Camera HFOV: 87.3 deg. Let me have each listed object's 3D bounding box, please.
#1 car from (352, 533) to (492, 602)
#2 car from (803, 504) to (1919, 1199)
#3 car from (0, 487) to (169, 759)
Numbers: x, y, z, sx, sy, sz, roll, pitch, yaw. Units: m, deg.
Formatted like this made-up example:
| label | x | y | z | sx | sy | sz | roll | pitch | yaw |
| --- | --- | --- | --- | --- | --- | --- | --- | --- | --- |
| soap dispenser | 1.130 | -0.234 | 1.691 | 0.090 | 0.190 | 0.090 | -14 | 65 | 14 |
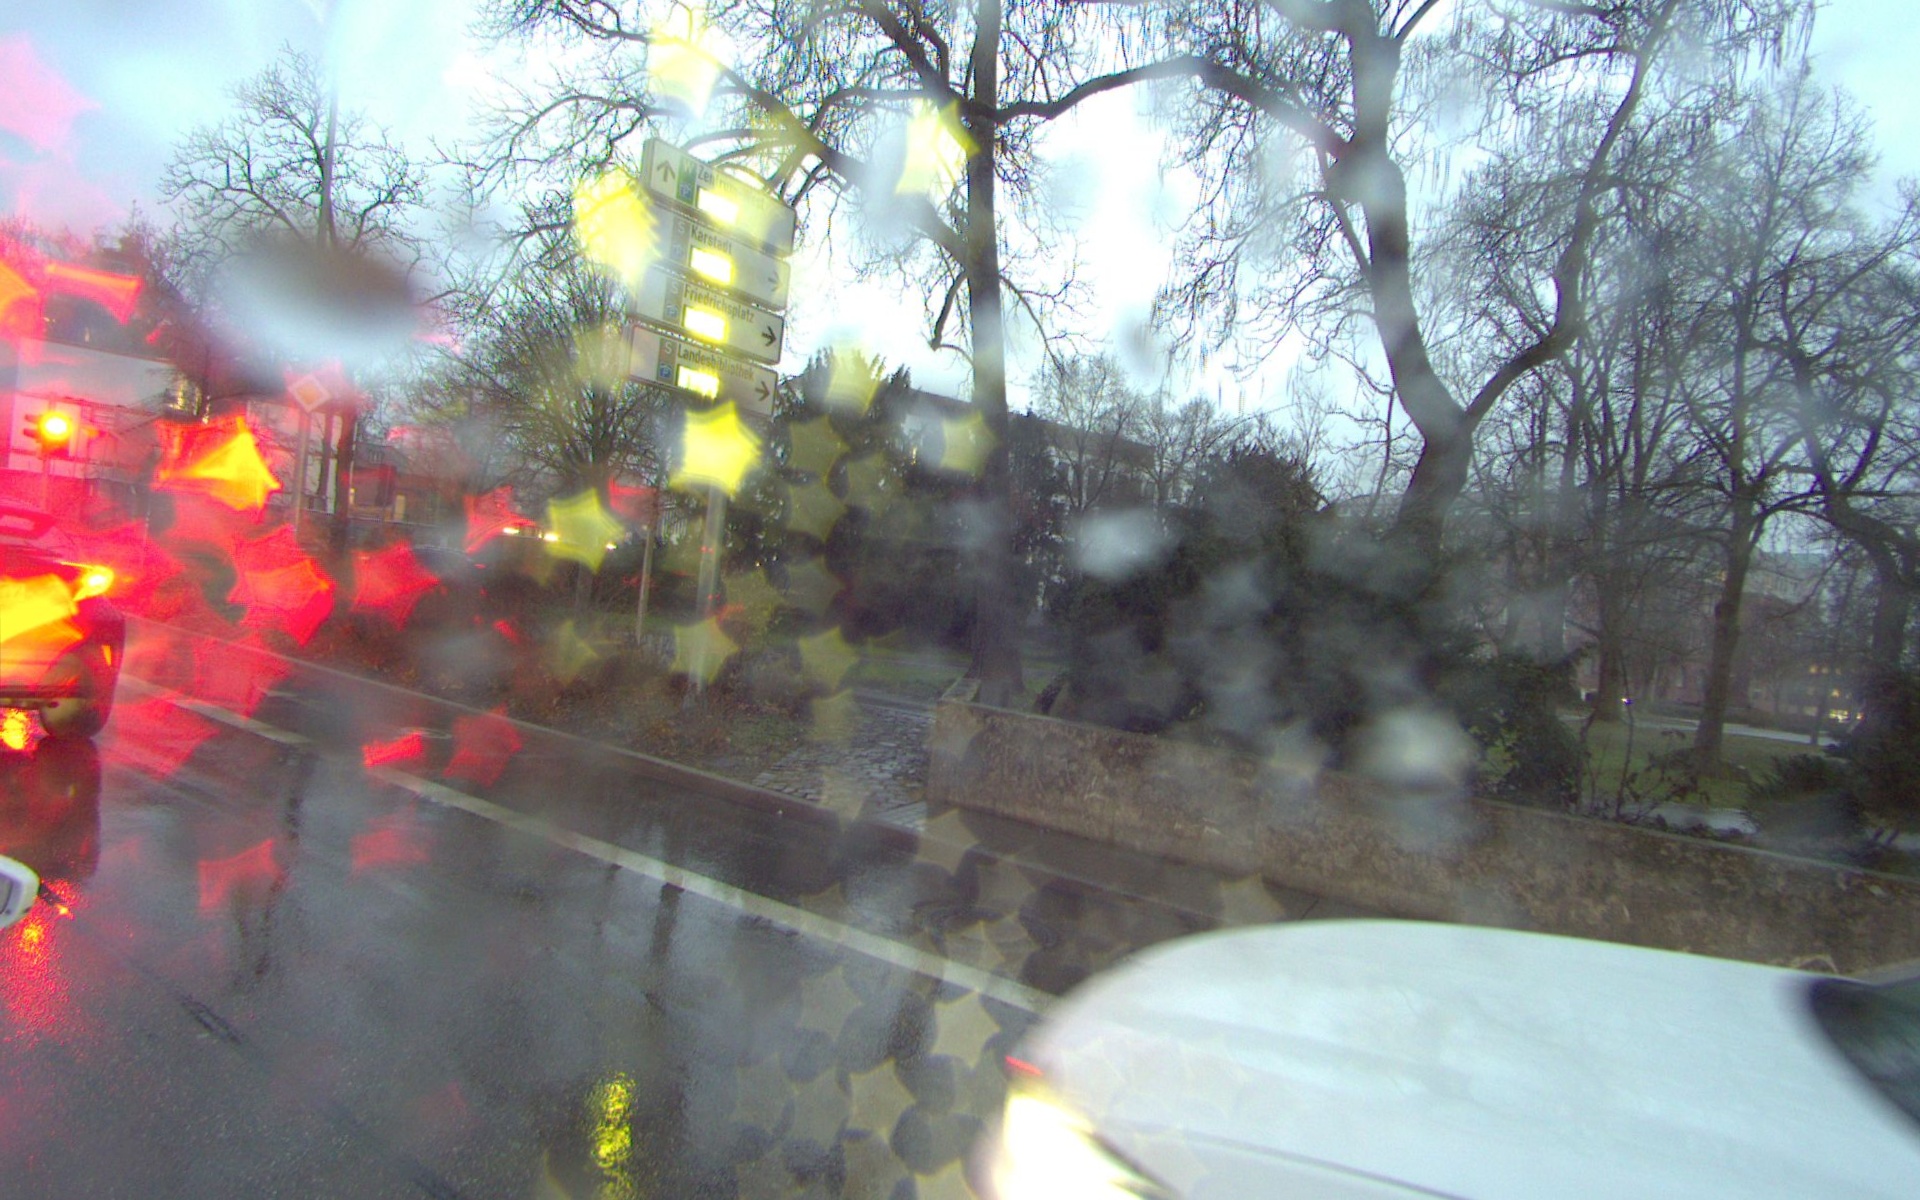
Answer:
| label | x | y | z | sx | sy | sz | roll | pitch | yaw |
| --- | --- | --- | --- | --- | --- | --- | --- | --- | --- |
| car | -20.617 | -1.225 | 38.633 | 4.259 | 1.965 | 1.977 | 10 | -3 | -42 |
| car | 2.336 | 0.957 | 1.184 | 4.853 | 1.575 | 1.866 | 7 | 0 | 29 |
| car | -7.084 | -0.065 | 6.522 | 3.831 | 1.529 | 1.802 | 7 | 0 | 32 |
